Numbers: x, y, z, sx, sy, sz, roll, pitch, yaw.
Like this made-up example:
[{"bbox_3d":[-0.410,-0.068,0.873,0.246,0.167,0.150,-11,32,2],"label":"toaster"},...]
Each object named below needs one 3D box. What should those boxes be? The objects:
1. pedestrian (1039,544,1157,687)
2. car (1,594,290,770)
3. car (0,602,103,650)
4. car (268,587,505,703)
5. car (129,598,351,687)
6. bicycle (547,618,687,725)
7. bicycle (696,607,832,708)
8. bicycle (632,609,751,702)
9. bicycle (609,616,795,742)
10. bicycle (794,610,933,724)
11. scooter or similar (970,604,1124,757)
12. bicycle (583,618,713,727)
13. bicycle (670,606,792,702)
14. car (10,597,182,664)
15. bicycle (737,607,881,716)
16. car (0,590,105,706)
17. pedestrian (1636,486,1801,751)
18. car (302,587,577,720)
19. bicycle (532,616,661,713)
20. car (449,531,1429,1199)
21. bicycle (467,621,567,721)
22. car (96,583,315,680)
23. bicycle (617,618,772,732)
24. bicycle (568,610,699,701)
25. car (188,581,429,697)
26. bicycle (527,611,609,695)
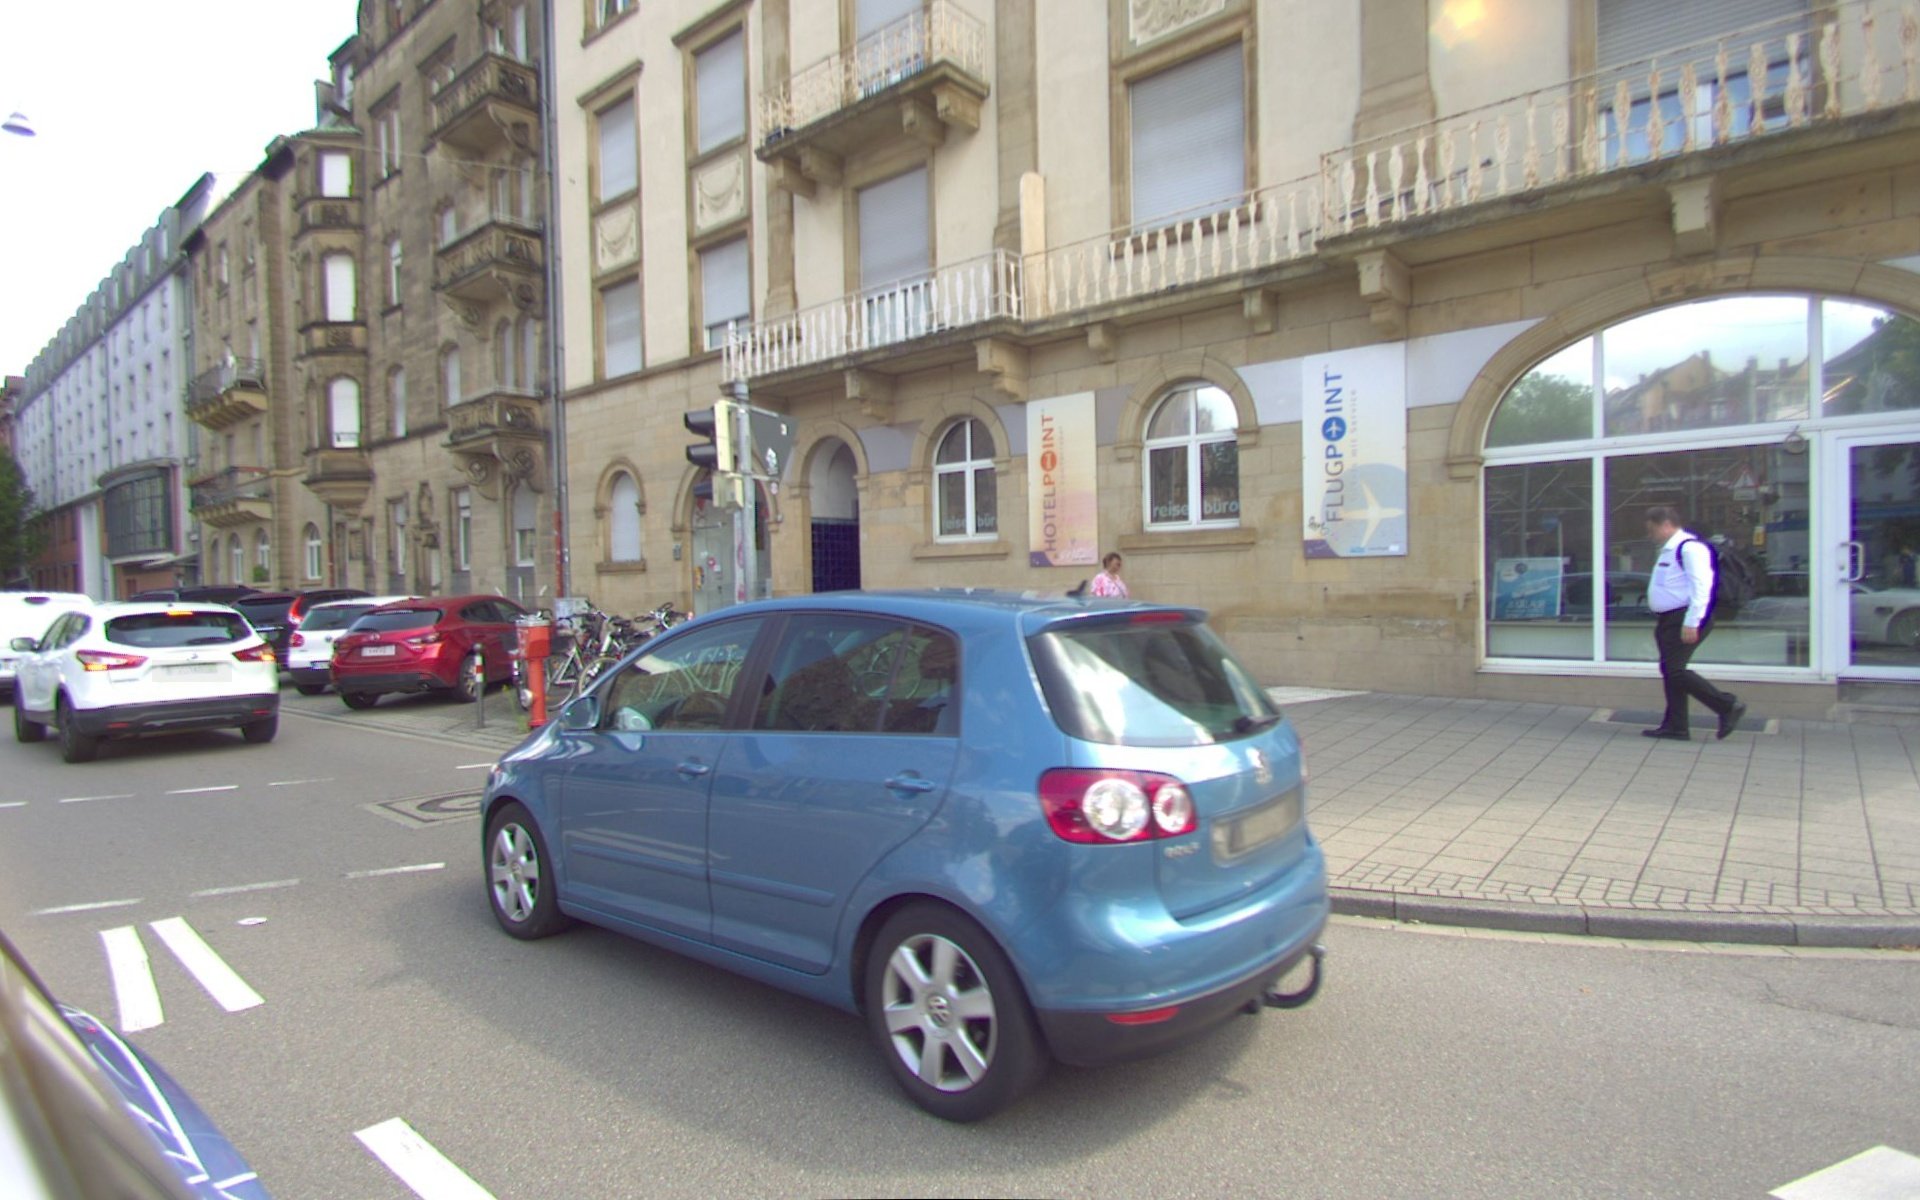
[{"bbox_3d":[1.692,0.172,12.340,0.996,1.606,0.931,-1,4,42],"label":"pedestrian"},{"bbox_3d":[-9.142,0.812,11.253,4.017,1.594,1.753,-2,-1,40],"label":"car"},{"bbox_3d":[-35.839,1.009,39.261,1.708,1.597,3.953,-4,2,2],"label":"car"},{"bbox_3d":[-9.538,0.658,17.241,1.707,1.467,3.955,-4,3,0],"label":"car"},{"bbox_3d":[-15.216,0.834,21.682,1.709,1.439,3.952,-4,2,3],"label":"car"},{"bbox_3d":[-3.978,0.802,11.834,0.462,1.059,1.464,-1,3,41],"label":"bicycle"},{"bbox_3d":[-2.383,0.668,12.401,1.558,1.059,0.481,-5,3,-42],"label":"bicycle"},{"bbox_3d":[-3.486,0.697,13.235,0.462,1.059,1.466,-1,3,38],"label":"bicycle"},{"bbox_3d":[-2.604,0.764,10.314,1.707,1.059,0.532,-4,2,-33],"label":"bicycle"},{"bbox_3d":[-1.017,0.686,10.883,1.421,1.059,0.481,-5,3,-40],"label":"bicycle"},{"bbox_3d":[0.761,0.657,8.712,1.232,1.154,0.482,-4,3,-31],"label":"scooter or similar"},{"bbox_3d":[-3.535,0.797,11.562,0.417,1.059,1.355,-1,3,39],"label":"bicycle"},{"bbox_3d":[-2.898,0.664,12.921,0.462,1.059,1.464,-1,3,42],"label":"bicycle"},{"bbox_3d":[-26.407,0.878,31.132,1.708,1.597,3.954,-4,3,2],"label":"car"},{"bbox_3d":[-1.715,0.672,11.655,1.589,1.059,0.481,-5,3,-42],"label":"bicycle"},{"bbox_3d":[-16.316,0.802,17.404,4.280,1.789,1.793,-2,-1,41],"label":"car"},{"bbox_3d":[5.792,0.103,7.733,0.905,1.873,0.794,3,4,41],"label":"pedestrian"},{"bbox_3d":[-7.450,0.668,15.006,1.788,1.467,3.997,-3,3,3],"label":"car"},{"bbox_3d":[-4.558,0.784,12.764,0.462,1.059,1.466,-1,2,38],"label":"bicycle"},{"bbox_3d":[-0.373,0.656,4.227,3.928,1.552,1.729,-1,-1,40],"label":"car"},{"bbox_3d":[-5.603,0.862,12.906,0.549,1.059,1.815,-3,2,-5],"label":"bicycle"},{"bbox_3d":[-17.200,0.639,23.339,1.711,1.881,3.947,-2,2,7],"label":"car"},{"bbox_3d":[-2.911,0.796,11.204,1.558,1.059,0.481,-5,3,-42],"label":"bicycle"},{"bbox_3d":[-4.443,0.724,13.861,0.557,1.059,1.611,-1,3,40],"label":"bicycle"},{"bbox_3d":[-11.958,0.622,18.935,1.778,1.702,3.953,-4,3,2],"label":"car"},{"bbox_3d":[-5.834,0.752,15.168,0.549,1.059,1.906,-3,2,-4],"label":"bicycle"}]
